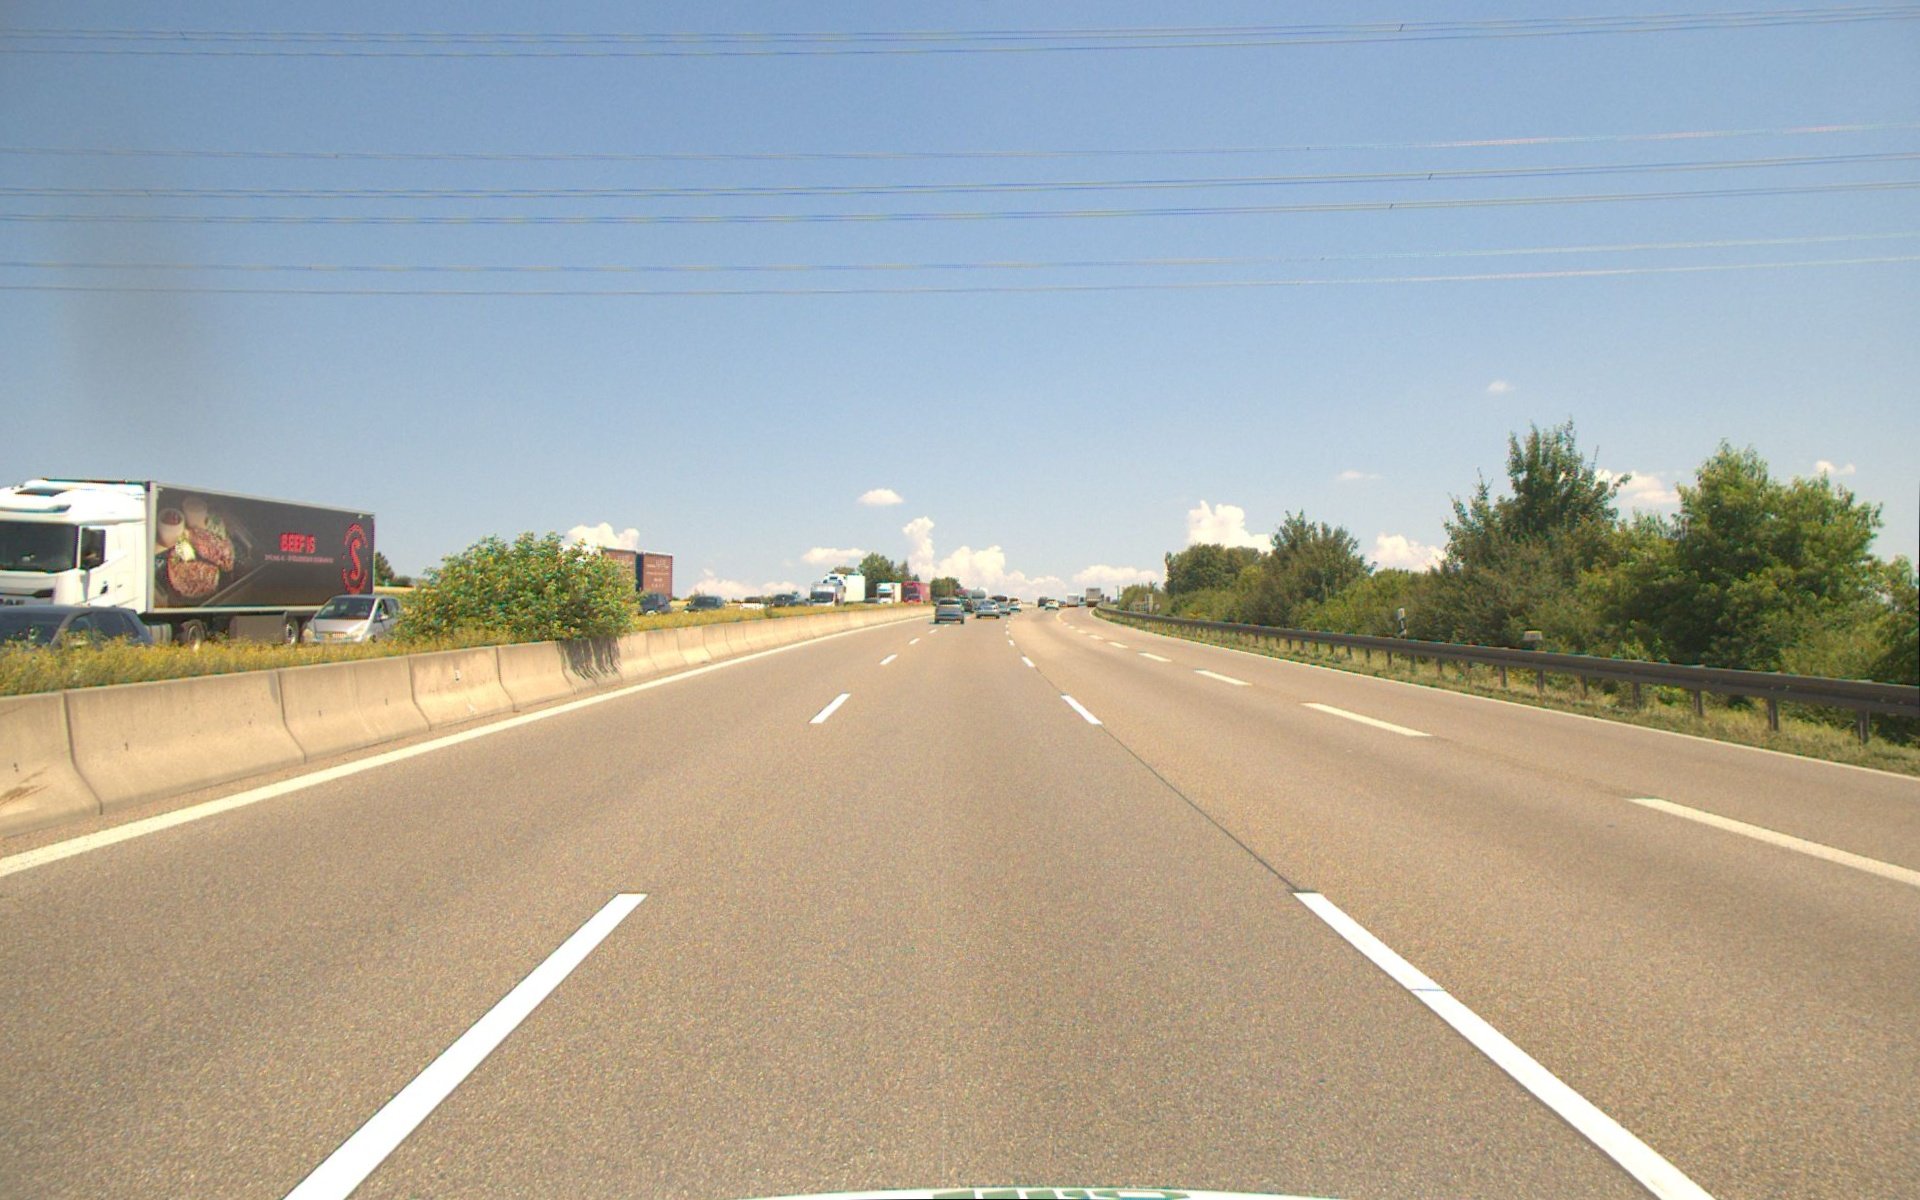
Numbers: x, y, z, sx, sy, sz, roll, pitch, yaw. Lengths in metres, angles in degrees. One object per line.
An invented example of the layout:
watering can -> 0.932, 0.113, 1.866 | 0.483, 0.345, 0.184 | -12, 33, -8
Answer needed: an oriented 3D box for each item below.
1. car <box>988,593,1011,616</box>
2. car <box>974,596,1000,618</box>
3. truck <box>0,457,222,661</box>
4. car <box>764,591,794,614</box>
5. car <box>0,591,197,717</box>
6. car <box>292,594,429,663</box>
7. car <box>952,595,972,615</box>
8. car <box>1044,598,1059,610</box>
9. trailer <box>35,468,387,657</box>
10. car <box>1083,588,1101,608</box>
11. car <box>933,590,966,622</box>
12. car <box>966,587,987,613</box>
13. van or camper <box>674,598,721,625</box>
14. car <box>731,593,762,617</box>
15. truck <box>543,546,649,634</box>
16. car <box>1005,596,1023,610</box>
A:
car -> 3.654, 0.436, 153.104 | 1.952, 1.937, 4.001 | 0, -2, 3
car -> 2.104, 0.581, 129.221 | 1.952, 1.613, 4.000 | 0, -1, 1
truck -> -19.312, -0.831, 36.697 | 2.794, 4.098, 6.515 | 1, 0, 1
car -> -13.448, 0.177, 122.903 | 1.701, 1.699, 4.000 | 1, 0, 0
car -> -11.806, 0.642, 21.688 | 1.750, 1.493, 3.999 | 1, 0, 0
car -> -14.827, 0.671, 41.120 | 1.953, 1.606, 3.999 | 1, 0, -1
car -> 0.247, 0.456, 166.440 | 1.809, 1.893, 4.207 | 1, 1, 3
car -> 11.984, 0.479, 215.627 | 1.862, 1.467, 4.002 | 1, 0, 4
trailer -> -19.154, -0.821, 43.930 | 2.735, 4.177, 14.008 | 1, 0, 1
car -> 15.304, -0.226, 191.772 | 1.952, 2.341, 6.266 | 0, 0, 4
car -> -0.643, 0.405, 101.639 | 1.953, 1.781, 3.999 | 1, -3, 0
car -> 1.853, 0.011, 181.697 | 2.134, 2.671, 4.672 | 1, -3, 2
van or camper -> -14.592, 0.628, 92.240 | 1.953, 1.478, 4.000 | 0, 0, 0
car -> -16.939, 0.418, 131.425 | 1.952, 1.881, 4.000 | 1, 0, 0
truck -> -18.671, -0.502, 85.569 | 2.828, 4.244, 10.624 | 1, 0, 1
car -> 6.218, 0.336, 190.428 | 1.952, 1.579, 4.002 | 2, 1, 4
